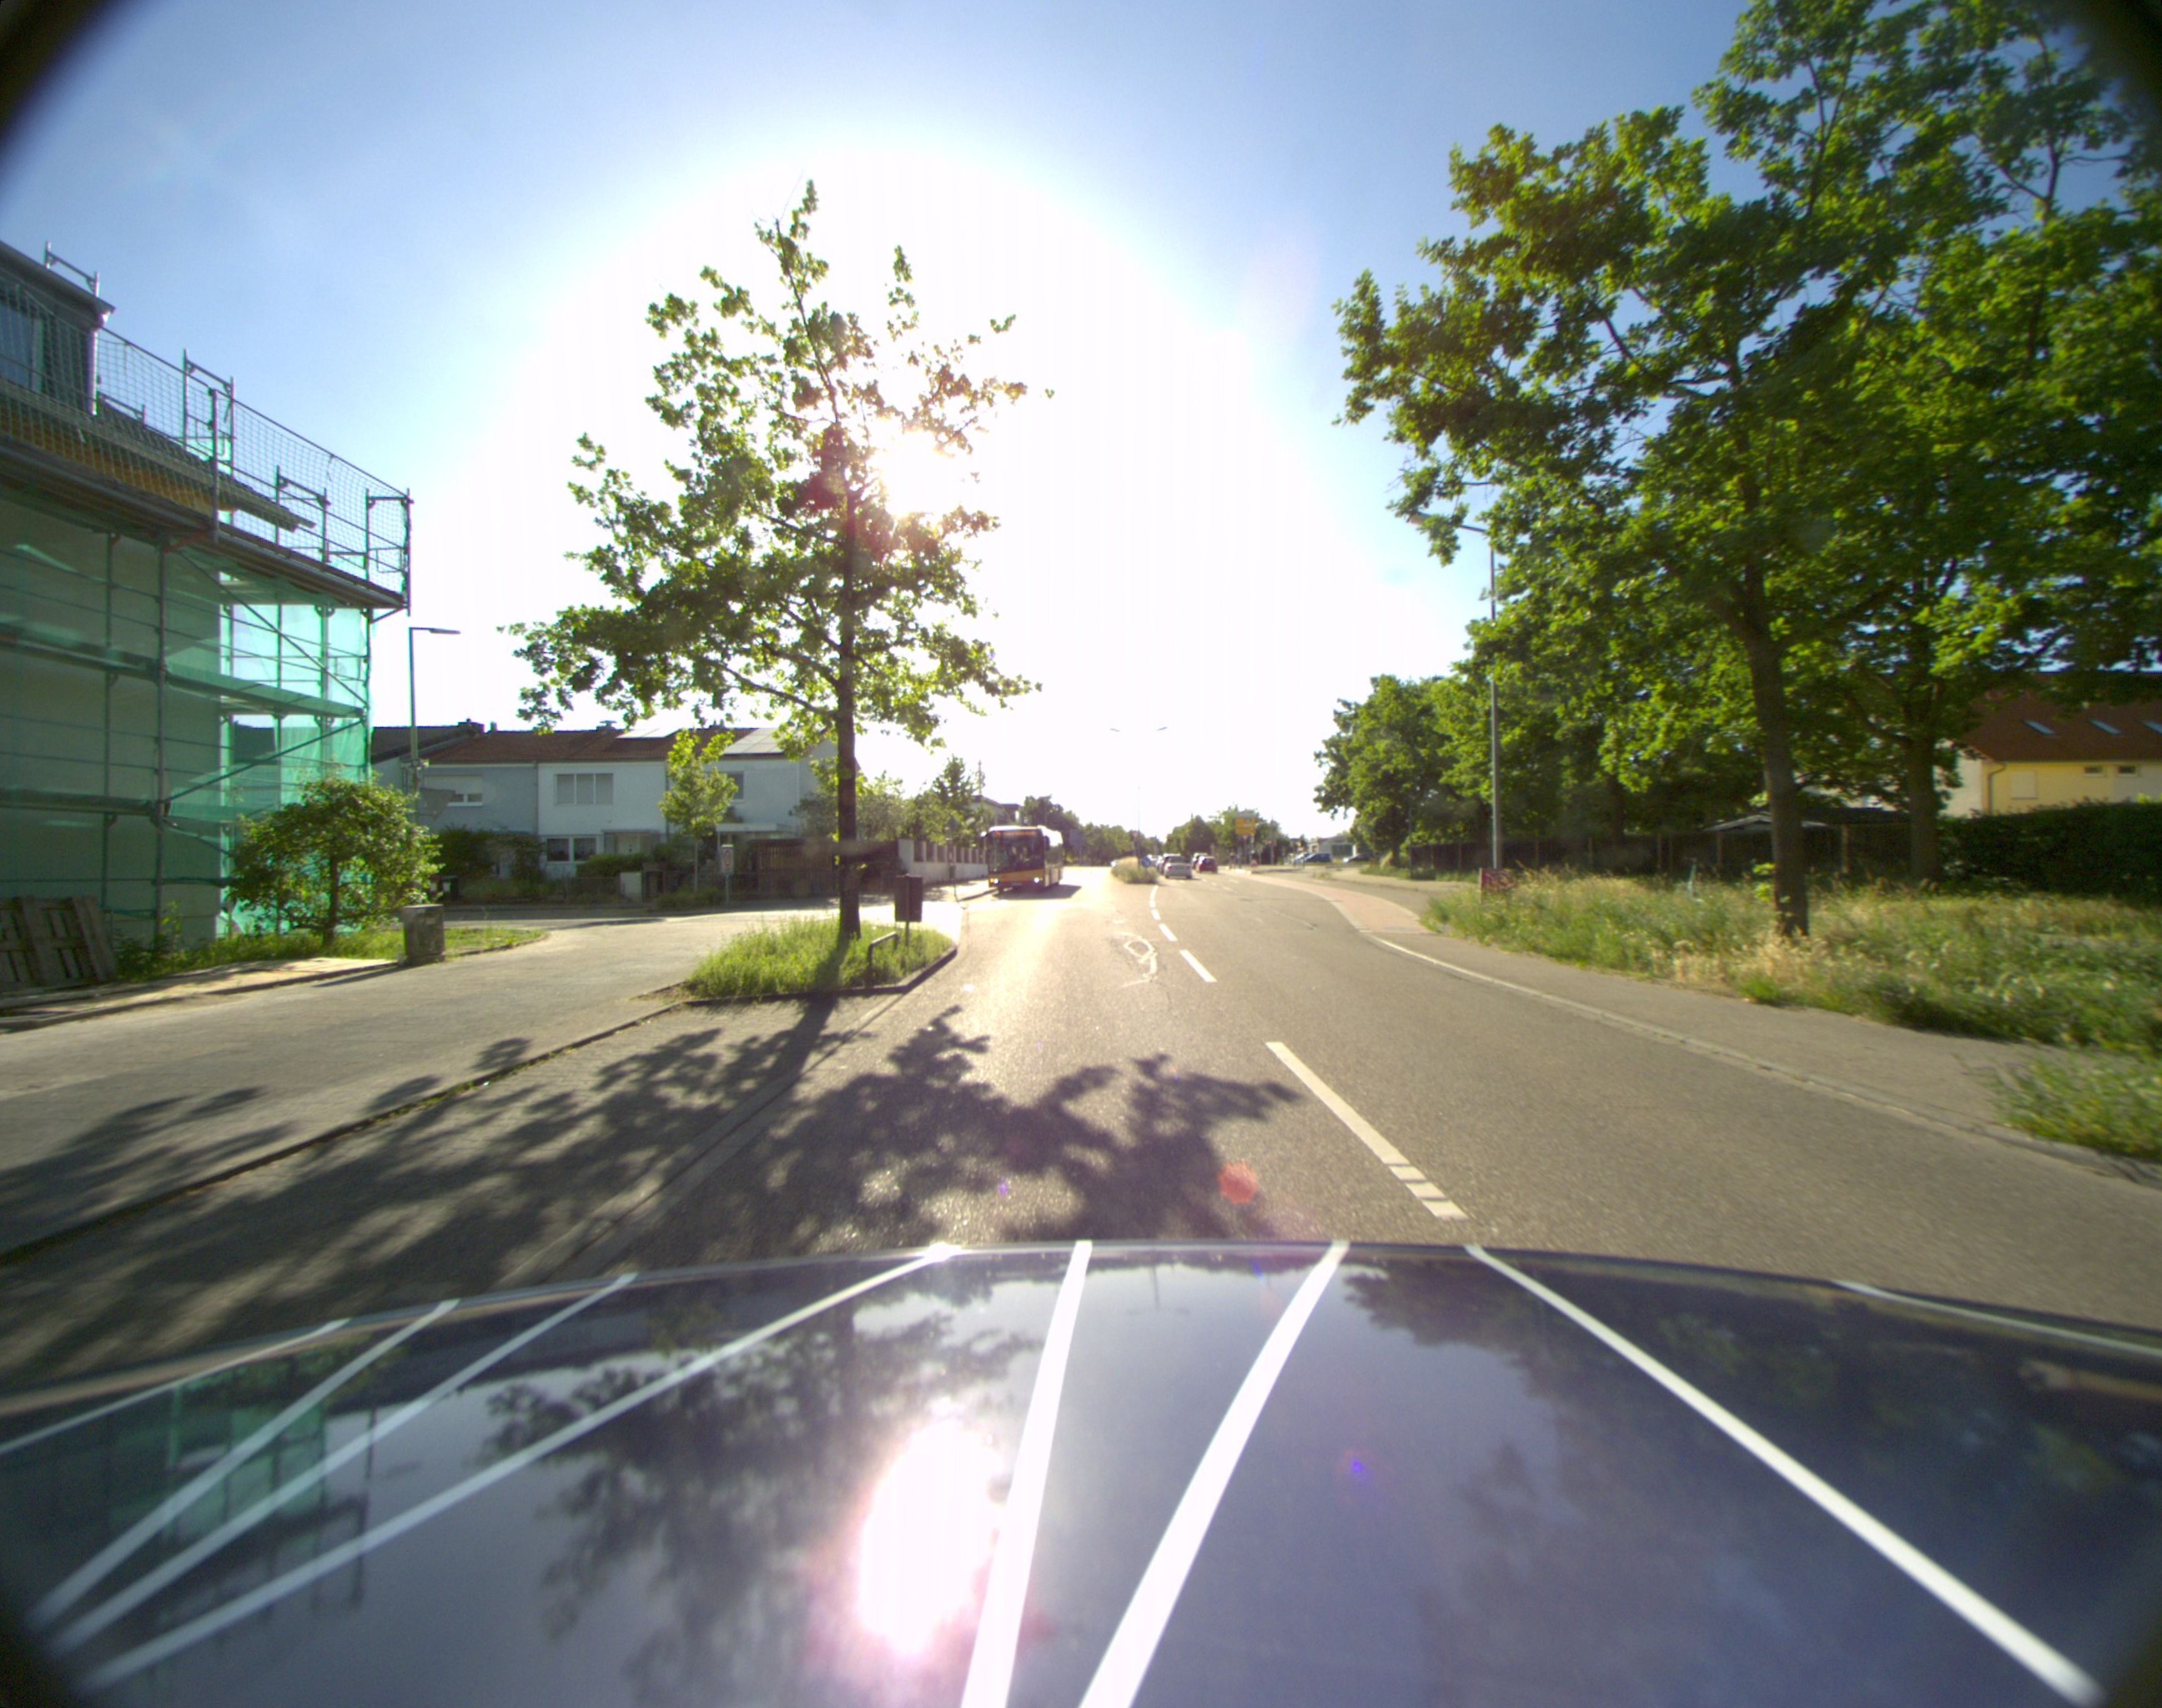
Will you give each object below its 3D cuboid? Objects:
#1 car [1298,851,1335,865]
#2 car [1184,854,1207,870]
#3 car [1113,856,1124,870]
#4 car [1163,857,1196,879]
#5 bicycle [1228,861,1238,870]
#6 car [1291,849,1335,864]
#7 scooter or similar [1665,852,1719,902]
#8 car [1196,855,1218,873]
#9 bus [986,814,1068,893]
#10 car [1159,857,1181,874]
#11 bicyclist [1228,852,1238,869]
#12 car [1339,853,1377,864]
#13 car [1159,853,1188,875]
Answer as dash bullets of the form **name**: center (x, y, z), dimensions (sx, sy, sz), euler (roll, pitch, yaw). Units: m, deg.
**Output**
- **car**: center (29.344, 0.511, 94.818), dimensions (4.036, 1.634, 1.894), euler (0, -2, 0)
- **car**: center (11.866, 0.823, 79.074), dimensions (1.998, 1.634, 4.532), euler (0, 0, 5)
- **car**: center (5.771, 1.374, 117.915), dimensions (1.729, 2.002, 4.001), euler (0, 0, 3)
- **car**: center (6.654, 0.940, 51.764), dimensions (1.998, 1.442, 4.400), euler (0, 0, 4)
- **bicycle**: center (15.446, 1.156, 77.225), dimensions (0.750, 0.843, 1.990), euler (0, 0, 3)
- **car**: center (31.080, 0.351, 101.832), dimensions (5.271, 2.001, 2.049), euler (0, -2, 0)
- **scooter or similar**: center (15.528, 0.587, 19.356), dimensions (0.539, 1.211, 1.415), euler (-2, -1, 17)
- **car**: center (11.135, 0.872, 67.257), dimensions (1.649, 1.474, 3.715), euler (0, 0, 5)
- **bus**: center (-2.456, -0.118, 39.398), dimensions (2.764, 3.438, 12.398), euler (0, 1, 3)
- **car**: center (7.719, 0.963, 66.271), dimensions (1.750, 1.474, 3.889), euler (0, 0, 5)
- **bicyclist**: center (15.445, 0.640, 77.245), dimensions (0.746, 1.692, 1.242), euler (0, 0, 4)
- **car**: center (34.622, 0.561, 94.938), dimensions (4.036, 1.267, 1.894), euler (0, -2, 0)
- **car**: center (7.229, 0.757, 59.636), dimensions (1.998, 1.606, 4.532), euler (0, 0, 4)
